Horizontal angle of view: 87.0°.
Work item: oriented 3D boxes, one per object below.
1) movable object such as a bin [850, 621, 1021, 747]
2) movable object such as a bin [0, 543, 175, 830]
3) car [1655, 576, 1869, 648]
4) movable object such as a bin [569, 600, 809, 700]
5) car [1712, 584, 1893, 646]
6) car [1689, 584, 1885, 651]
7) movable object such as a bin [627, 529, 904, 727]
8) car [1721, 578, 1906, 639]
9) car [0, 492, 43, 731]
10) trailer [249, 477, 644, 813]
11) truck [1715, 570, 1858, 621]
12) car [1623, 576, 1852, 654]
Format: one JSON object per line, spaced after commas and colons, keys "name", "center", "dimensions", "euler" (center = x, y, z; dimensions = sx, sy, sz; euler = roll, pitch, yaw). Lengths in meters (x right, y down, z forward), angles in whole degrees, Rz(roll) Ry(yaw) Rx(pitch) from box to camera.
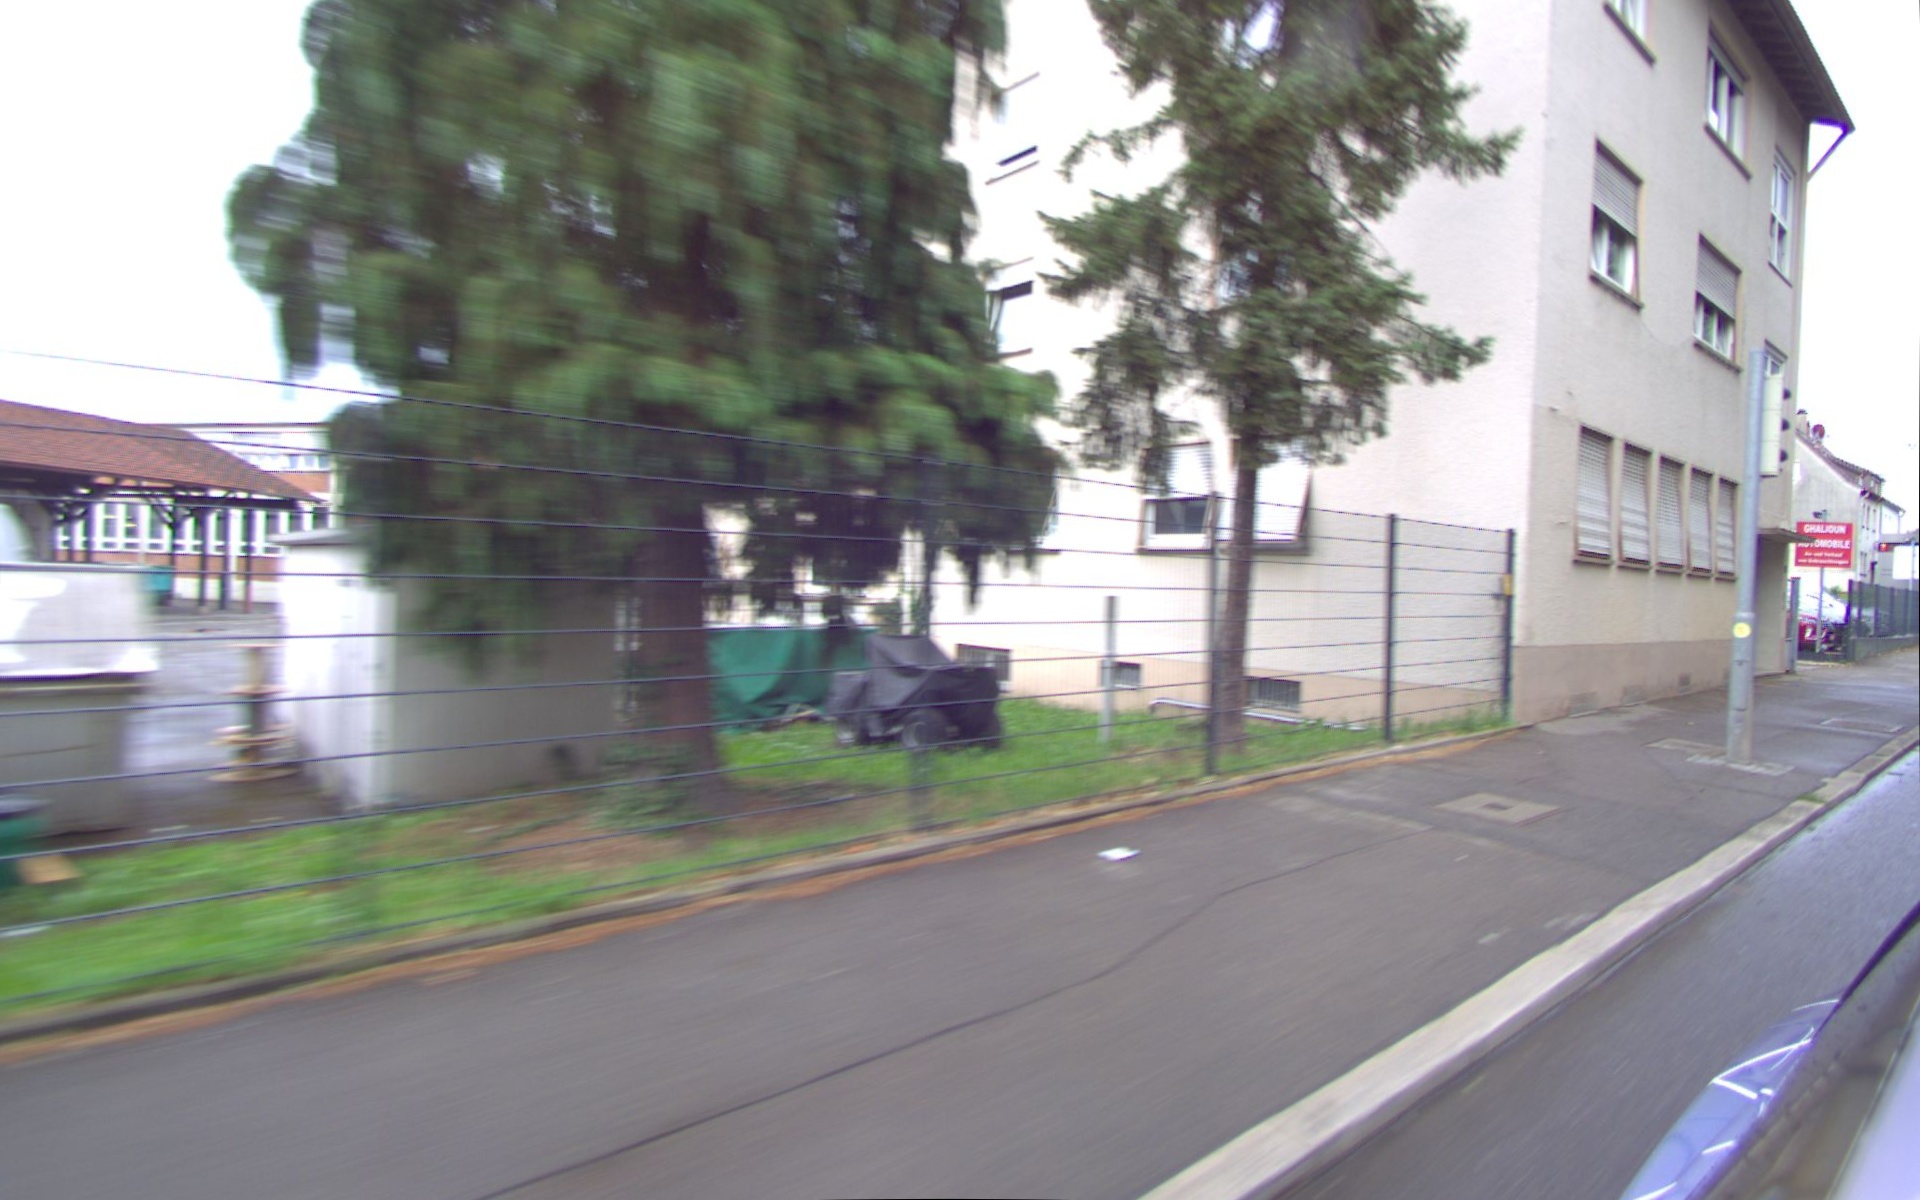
{"name": "movable object such as a bin", "center": [-0.268, 0.829, 10.489], "dimensions": [1.196, 1.196, 1.330], "euler": [1, -3, -41]}
{"name": "movable object such as a bin", "center": [-6.846, 0.524, 6.967], "dimensions": [2.048, 1.738, 2.619], "euler": [1, -1, -43]}
{"name": "car", "center": [21.442, 0.272, 27.191], "dimensions": [1.837, 1.758, 4.236], "euler": [-1, 1, -40]}
{"name": "movable object such as a bin", "center": [-4.199, 0.699, 15.810], "dimensions": [3.096, 1.313, 1.935], "euler": [-2, 1, -40]}
{"name": "car", "center": [25.342, 0.403, 30.552], "dimensions": [1.760, 1.746, 3.956], "euler": [-1, 0, -40]}
{"name": "car", "center": [23.498, 0.454, 28.877], "dimensions": [1.837, 1.758, 4.074], "euler": [-1, 1, -40]}
{"name": "movable object such as a bin", "center": [-2.533, 0.281, 13.254], "dimensions": [3.035, 2.271, 1.909], "euler": [-1, 1, -35]}
{"name": "car", "center": [27.371, 0.223, 32.567], "dimensions": [1.965, 1.790, 4.311], "euler": [-1, 1, -40]}
{"name": "car", "center": [-11.407, 0.052, 10.998], "dimensions": [1.965, 2.298, 4.830], "euler": [-1, 3, -41]}
{"name": "trailer", "center": [-5.040, 0.272, 9.399], "dimensions": [2.011, 2.214, 5.429], "euler": [-1, 1, -41]}
{"name": "truck", "center": [45.738, -0.261, 56.154], "dimensions": [2.008, 2.670, 5.855], "euler": [-1, 1, -40]}
{"name": "car", "center": [19.218, 0.327, 25.167], "dimensions": [1.837, 1.758, 4.236], "euler": [-1, 1, -40]}
